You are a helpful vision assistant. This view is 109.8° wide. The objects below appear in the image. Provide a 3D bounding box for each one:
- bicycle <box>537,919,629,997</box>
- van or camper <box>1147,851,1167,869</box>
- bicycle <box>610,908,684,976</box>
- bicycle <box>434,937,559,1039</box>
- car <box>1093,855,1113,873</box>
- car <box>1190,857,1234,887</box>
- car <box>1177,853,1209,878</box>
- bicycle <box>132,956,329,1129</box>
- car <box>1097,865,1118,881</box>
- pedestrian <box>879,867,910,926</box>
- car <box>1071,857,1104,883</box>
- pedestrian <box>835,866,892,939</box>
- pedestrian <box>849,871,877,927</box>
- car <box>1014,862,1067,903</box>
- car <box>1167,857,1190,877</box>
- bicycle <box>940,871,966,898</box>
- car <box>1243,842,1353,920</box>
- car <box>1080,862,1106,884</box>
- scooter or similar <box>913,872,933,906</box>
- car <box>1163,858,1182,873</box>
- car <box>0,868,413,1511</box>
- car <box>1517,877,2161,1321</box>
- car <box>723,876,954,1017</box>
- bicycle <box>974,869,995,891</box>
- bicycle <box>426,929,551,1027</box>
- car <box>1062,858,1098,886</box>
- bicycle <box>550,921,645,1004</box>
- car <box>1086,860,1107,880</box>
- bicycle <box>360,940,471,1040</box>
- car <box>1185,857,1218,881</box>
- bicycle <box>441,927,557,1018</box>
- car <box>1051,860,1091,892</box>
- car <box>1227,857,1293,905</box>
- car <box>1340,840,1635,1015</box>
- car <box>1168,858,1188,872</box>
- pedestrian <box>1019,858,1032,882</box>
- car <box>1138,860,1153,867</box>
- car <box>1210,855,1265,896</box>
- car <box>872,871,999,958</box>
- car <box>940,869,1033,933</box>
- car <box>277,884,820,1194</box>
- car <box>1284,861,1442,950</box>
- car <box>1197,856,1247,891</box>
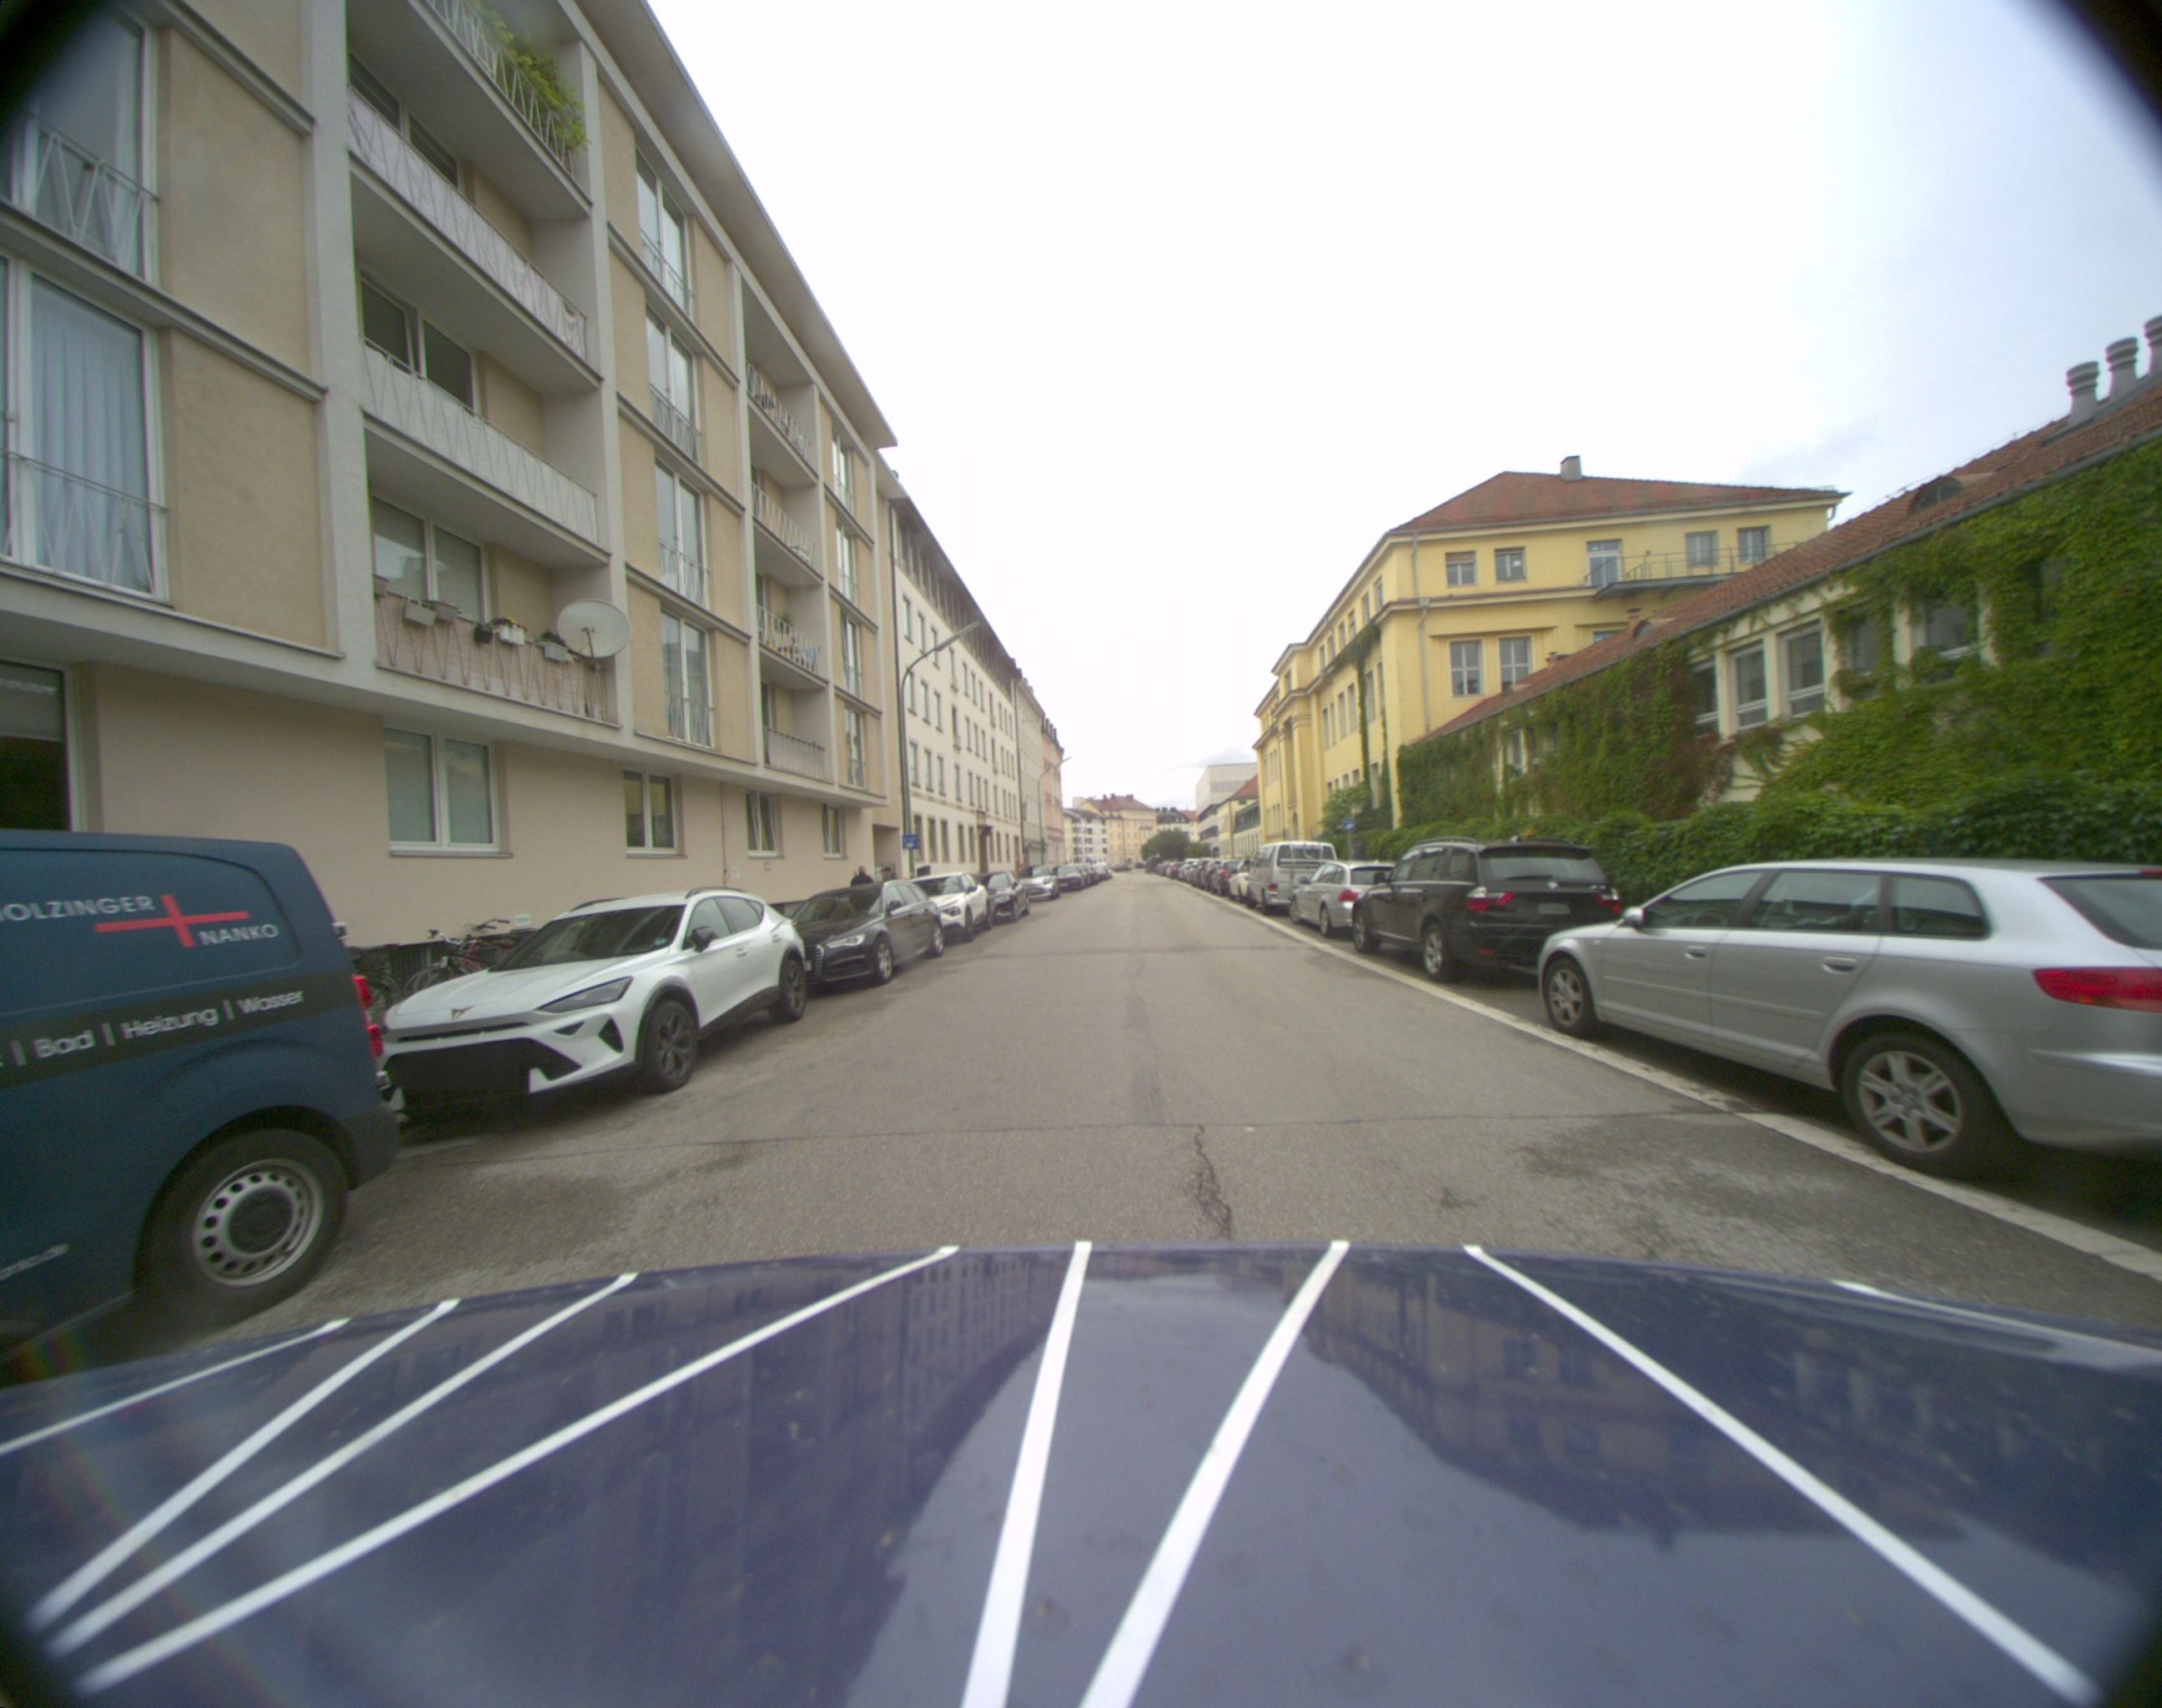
[{"bbox_3d":[-7.685,1.576,11.784,0.390,1.018,1.402,-2,0,4],"label":"bicycle"},{"bbox_3d":[11.855,0.982,119.002,2.141,2.791,5.572,-1,-1,-3],"label":"van or camper"},{"bbox_3d":[-7.553,1.507,13.281,0.390,1.018,1.402,-2,0,4],"label":"bicycle"},{"bbox_3d":[-7.083,1.594,9.275,0.424,1.018,1.302,-2,0,4],"label":"bicycle"},{"bbox_3d":[2.519,1.093,84.989,1.845,1.775,4.897,-5,-1,4],"label":"car"},{"bbox_3d":[7.073,0.927,41.307,1.786,1.529,4.196,1,0,2],"label":"car"},{"bbox_3d":[8.033,0.826,54.687,1.684,1.624,4.357,-3,0,1],"label":"car"},{"bbox_3d":[-7.314,1.552,6.628,0.720,1.126,1.426,-3,0,-32],"label":"bicycle"},{"bbox_3d":[2.597,1.851,73.943,1.695,1.442,4.085,-2,0,6],"label":"car"},{"bbox_3d":[-5.368,1.216,21.905,0.598,1.644,0.630,-3,1,4],"label":"pedestrian"},{"bbox_3d":[0.522,1.092,52.393,1.782,1.575,4.331,-3,0,6],"label":"car"},{"bbox_3d":[-5.270,1.148,18.477,0.900,1.678,1.320,-2,0,3],"label":"pedestrian"},{"bbox_3d":[-6.369,1.305,22.233,0.532,1.575,0.560,-3,1,4],"label":"pedestrian"},{"bbox_3d":[-1.697,1.209,33.333,1.675,1.525,3.883,-6,-1,5],"label":"car"},{"bbox_3d":[8.268,1.075,64.612,1.683,1.487,3.987,-3,0,4],"label":"car"},{"bbox_3d":[-5.805,1.367,34.488,0.660,1.156,2.029,-2,0,5],"label":"bicycle"},{"bbox_3d":[5.683,0.638,20.520,1.998,1.864,4.760,0,0,5],"label":"car"},{"bbox_3d":[0.981,1.477,60.868,1.860,1.535,4.157,-3,0,3],"label":"car"},{"bbox_3d":[-6.246,1.365,30.124,0.600,1.245,1.038,-1,3,-4],"label":"scooter or similar"},{"bbox_3d":[9.951,1.230,82.975,1.679,1.557,3.998,0,-1,2],"label":"car"},{"bbox_3d":[-4.147,1.067,0.999,1.969,1.805,4.935,-6,0,0],"label":"car"},{"bbox_3d":[4.522,0.892,4.524,1.623,1.370,4.072,1,0,2],"label":"car"},{"bbox_3d":[-3.492,1.257,11.978,1.743,1.490,4.496,-6,0,5],"label":"car"},{"bbox_3d":[-5.281,1.402,41.680,0.660,1.120,2.029,-2,0,5],"label":"bicycle"},{"bbox_3d":[-7.512,1.546,9.705,0.390,1.018,1.402,-2,0,4],"label":"bicycle"},{"bbox_3d":[-0.008,1.073,47.702,1.782,1.575,4.273,-3,0,5],"label":"car"},{"bbox_3d":[-7.070,1.553,11.173,0.390,1.018,1.402,-2,0,4],"label":"bicycle"},{"bbox_3d":[1.361,1.387,66.203,1.696,1.574,4.084,-3,0,2],"label":"car"},{"bbox_3d":[-7.959,1.604,9.129,0.374,1.018,1.002,-2,0,4],"label":"bicycle"},{"bbox_3d":[7.771,0.939,49.219,1.684,1.417,3.895,-3,0,3],"label":"car"},{"bbox_3d":[-7.873,1.576,10.343,0.390,1.018,1.402,-2,0,4],"label":"bicycle"},{"bbox_3d":[-0.510,1.197,42.830,1.860,1.535,4.816,-3,0,3],"label":"car"},{"bbox_3d":[6.009,0.857,25.887,1.582,1.483,3.731,0,0,3],"label":"car"},{"bbox_3d":[4.831,0.734,9.847,1.623,1.720,4.425,1,0,3],"label":"car"},{"bbox_3d":[9.805,1.118,77.117,1.679,1.389,3.998,0,-1,2],"label":"car"},{"bbox_3d":[-3.792,1.113,52.093,0.736,1.616,0.828,-1,0,5],"label":"pedestrian"},{"bbox_3d":[17.819,2.713,210.705,3.995,1.848,2.001,-2,-1,5],"label":"car"},{"bbox_3d":[6.273,0.831,30.824,1.582,1.447,3.905,-3,0,3],"label":"car"},{"bbox_3d":[-3.123,1.260,17.236,1.743,1.490,4.220,-6,0,3],"label":"car"},{"bbox_3d":[-2.586,1.268,21.895,1.800,1.412,4.484,-6,-1,3],"label":"car"},{"bbox_3d":[-3.987,1.216,6.791,1.743,1.528,4.273,-7,0,-1],"label":"car"},{"bbox_3d":[5.297,0.873,14.905,1.705,1.414,4.426,1,0,4],"label":"car"},{"bbox_3d":[6.624,0.881,36.096,1.786,1.529,4.149,0,0,2],"label":"car"}]
